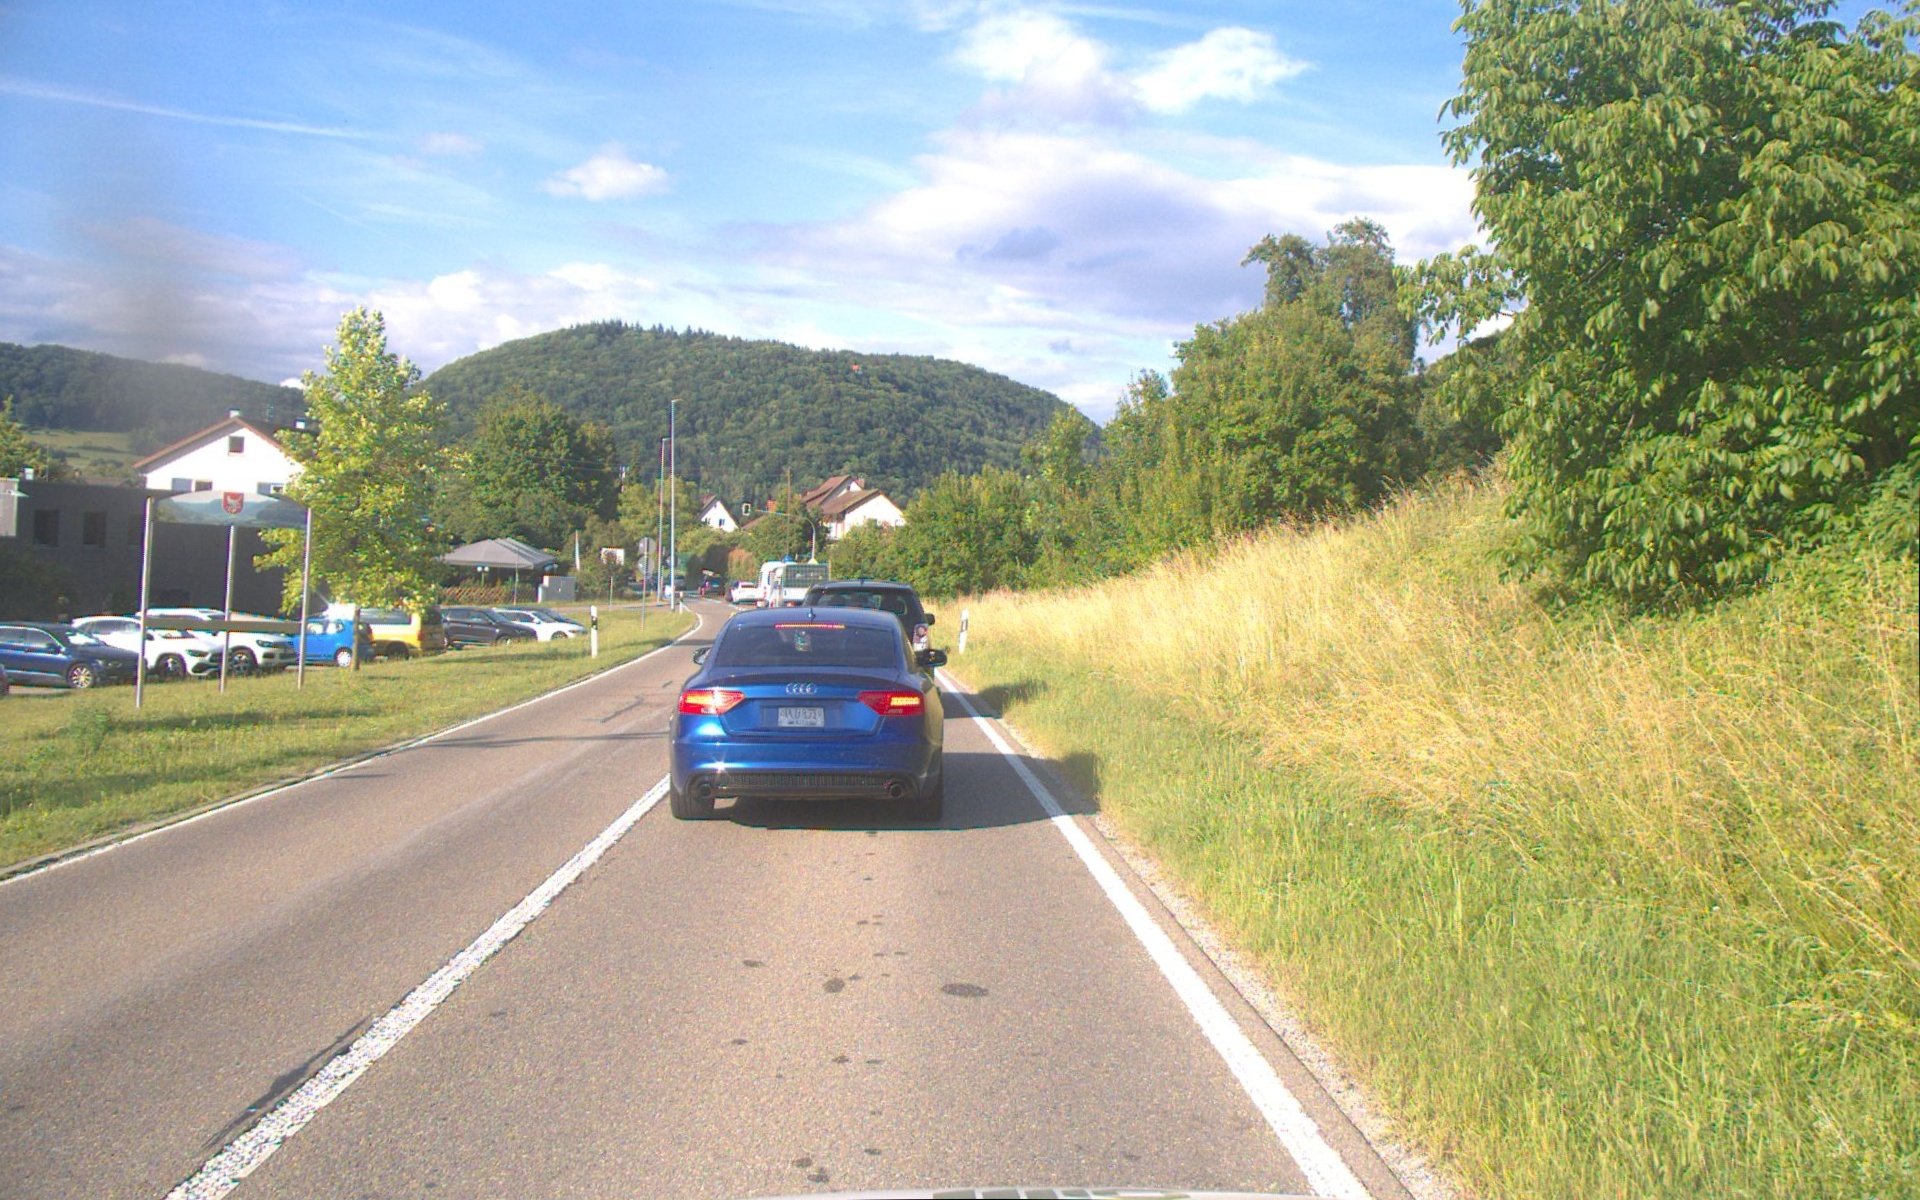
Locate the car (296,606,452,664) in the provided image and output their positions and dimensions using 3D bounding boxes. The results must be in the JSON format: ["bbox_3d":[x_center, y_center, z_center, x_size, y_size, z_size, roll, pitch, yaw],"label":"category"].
[{"bbox_3d":[-19.201,1.136,54.280,4.456,1.846,1.842,0,0,8],"label":"car"}]

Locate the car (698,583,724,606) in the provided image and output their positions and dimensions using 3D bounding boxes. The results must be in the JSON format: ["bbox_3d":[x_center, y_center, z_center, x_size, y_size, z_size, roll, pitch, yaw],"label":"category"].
[{"bbox_3d":[-20.793,-0.444,138.198,1.649,1.958,3.983,0,0,-16],"label":"car"}]

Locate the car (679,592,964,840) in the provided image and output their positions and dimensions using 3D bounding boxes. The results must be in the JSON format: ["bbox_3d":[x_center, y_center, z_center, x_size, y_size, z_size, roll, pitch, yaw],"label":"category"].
[{"bbox_3d":[-0.940,0.696,11.695,1.708,1.476,3.514,0,0,-4],"label":"car"}]

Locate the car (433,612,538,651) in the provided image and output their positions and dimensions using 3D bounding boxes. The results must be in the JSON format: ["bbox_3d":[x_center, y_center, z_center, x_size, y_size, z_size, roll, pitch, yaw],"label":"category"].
[{"bbox_3d":[-18.509,1.228,64.543,3.633,1.465,1.510,0,0,8],"label":"car"}]

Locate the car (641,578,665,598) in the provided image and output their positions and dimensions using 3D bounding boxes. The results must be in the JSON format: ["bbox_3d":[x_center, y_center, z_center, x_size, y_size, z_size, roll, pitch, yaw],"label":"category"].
[{"bbox_3d":[-31.394,-1.193,169.172,1.653,1.958,3.974,0,0,-22],"label":"car"}]

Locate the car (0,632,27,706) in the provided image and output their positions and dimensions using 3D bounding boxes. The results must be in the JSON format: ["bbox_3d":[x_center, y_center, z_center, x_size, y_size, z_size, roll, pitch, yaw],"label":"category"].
[{"bbox_3d":[-21.549,1.413,34.308,3.547,1.469,1.650,1,1,8],"label":"car"}]

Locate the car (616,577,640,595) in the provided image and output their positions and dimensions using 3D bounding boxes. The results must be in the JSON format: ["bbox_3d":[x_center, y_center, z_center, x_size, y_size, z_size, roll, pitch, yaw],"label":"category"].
[{"bbox_3d":[-36.857,-1.514,183.426,1.927,1.958,3.974,1,0,-21],"label":"car"}]

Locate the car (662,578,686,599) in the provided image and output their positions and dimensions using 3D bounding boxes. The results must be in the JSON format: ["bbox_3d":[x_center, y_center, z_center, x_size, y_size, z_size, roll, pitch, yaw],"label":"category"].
[{"bbox_3d":[-27.015,-1.103,156.369,1.651,1.958,3.978,0,0,-19],"label":"car"}]

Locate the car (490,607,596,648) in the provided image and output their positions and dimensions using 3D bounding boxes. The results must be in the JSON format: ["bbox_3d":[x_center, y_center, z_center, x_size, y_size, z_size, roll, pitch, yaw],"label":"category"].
[{"bbox_3d":[-17.354,1.124,68.887,3.949,1.689,1.657,0,0,8],"label":"car"}]

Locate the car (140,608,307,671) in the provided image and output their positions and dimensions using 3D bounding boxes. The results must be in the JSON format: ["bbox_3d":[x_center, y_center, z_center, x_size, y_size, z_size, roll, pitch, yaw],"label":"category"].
[{"bbox_3d":[-20.395,1.083,45.870,3.990,1.702,1.598,0,0,8],"label":"car"}]

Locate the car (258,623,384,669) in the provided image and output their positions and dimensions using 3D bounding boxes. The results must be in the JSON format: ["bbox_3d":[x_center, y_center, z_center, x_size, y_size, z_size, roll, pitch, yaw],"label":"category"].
[{"bbox_3d":[-19.971,1.436,51.789,3.300,1.397,1.660,0,0,0],"label":"car"}]

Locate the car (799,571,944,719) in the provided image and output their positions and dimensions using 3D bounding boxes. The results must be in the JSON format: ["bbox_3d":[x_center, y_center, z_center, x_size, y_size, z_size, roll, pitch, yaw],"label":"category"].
[{"bbox_3d":[-1.142,0.509,20.734,1.613,1.653,3.514,2,0,-4],"label":"car"}]

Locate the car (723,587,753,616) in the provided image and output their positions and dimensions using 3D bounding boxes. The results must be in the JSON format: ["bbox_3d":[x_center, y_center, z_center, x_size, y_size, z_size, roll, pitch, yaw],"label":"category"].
[{"bbox_3d":[-15.481,0.119,115.027,1.632,1.958,3.985,0,0,-14],"label":"car"}]

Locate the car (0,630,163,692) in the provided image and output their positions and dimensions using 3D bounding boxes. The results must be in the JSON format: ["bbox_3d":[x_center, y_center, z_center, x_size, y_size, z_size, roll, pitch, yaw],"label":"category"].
[{"bbox_3d":[-21.088,1.453,39.318,3.547,1.430,1.597,0,-3,8],"label":"car"}]

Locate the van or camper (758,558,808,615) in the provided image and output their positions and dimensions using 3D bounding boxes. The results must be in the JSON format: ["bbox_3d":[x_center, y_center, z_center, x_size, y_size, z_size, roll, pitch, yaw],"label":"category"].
[{"bbox_3d":[-8.907,-0.637,82.924,2.239,2.761,5.755,0,0,-9],"label":"van or camper"}]

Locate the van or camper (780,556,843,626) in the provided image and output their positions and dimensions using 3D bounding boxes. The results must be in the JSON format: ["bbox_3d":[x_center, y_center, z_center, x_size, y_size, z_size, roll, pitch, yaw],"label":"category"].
[{"bbox_3d":[-5.778,-0.325,63.848,2.014,2.549,5.798,0,0,-9],"label":"van or camper"}]

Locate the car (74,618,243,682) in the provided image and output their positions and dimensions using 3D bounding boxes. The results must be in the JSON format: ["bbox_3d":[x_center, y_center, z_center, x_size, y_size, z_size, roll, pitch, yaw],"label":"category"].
[{"bbox_3d":[-20.546,1.272,42.478,3.588,1.519,1.598,0,2,8],"label":"car"}]

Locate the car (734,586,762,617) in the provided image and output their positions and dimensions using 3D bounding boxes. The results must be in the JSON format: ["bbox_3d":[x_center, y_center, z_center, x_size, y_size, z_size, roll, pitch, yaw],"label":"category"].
[{"bbox_3d":[-13.747,0.109,107.150,1.629,1.958,3.991,0,0,-9],"label":"car"}]
